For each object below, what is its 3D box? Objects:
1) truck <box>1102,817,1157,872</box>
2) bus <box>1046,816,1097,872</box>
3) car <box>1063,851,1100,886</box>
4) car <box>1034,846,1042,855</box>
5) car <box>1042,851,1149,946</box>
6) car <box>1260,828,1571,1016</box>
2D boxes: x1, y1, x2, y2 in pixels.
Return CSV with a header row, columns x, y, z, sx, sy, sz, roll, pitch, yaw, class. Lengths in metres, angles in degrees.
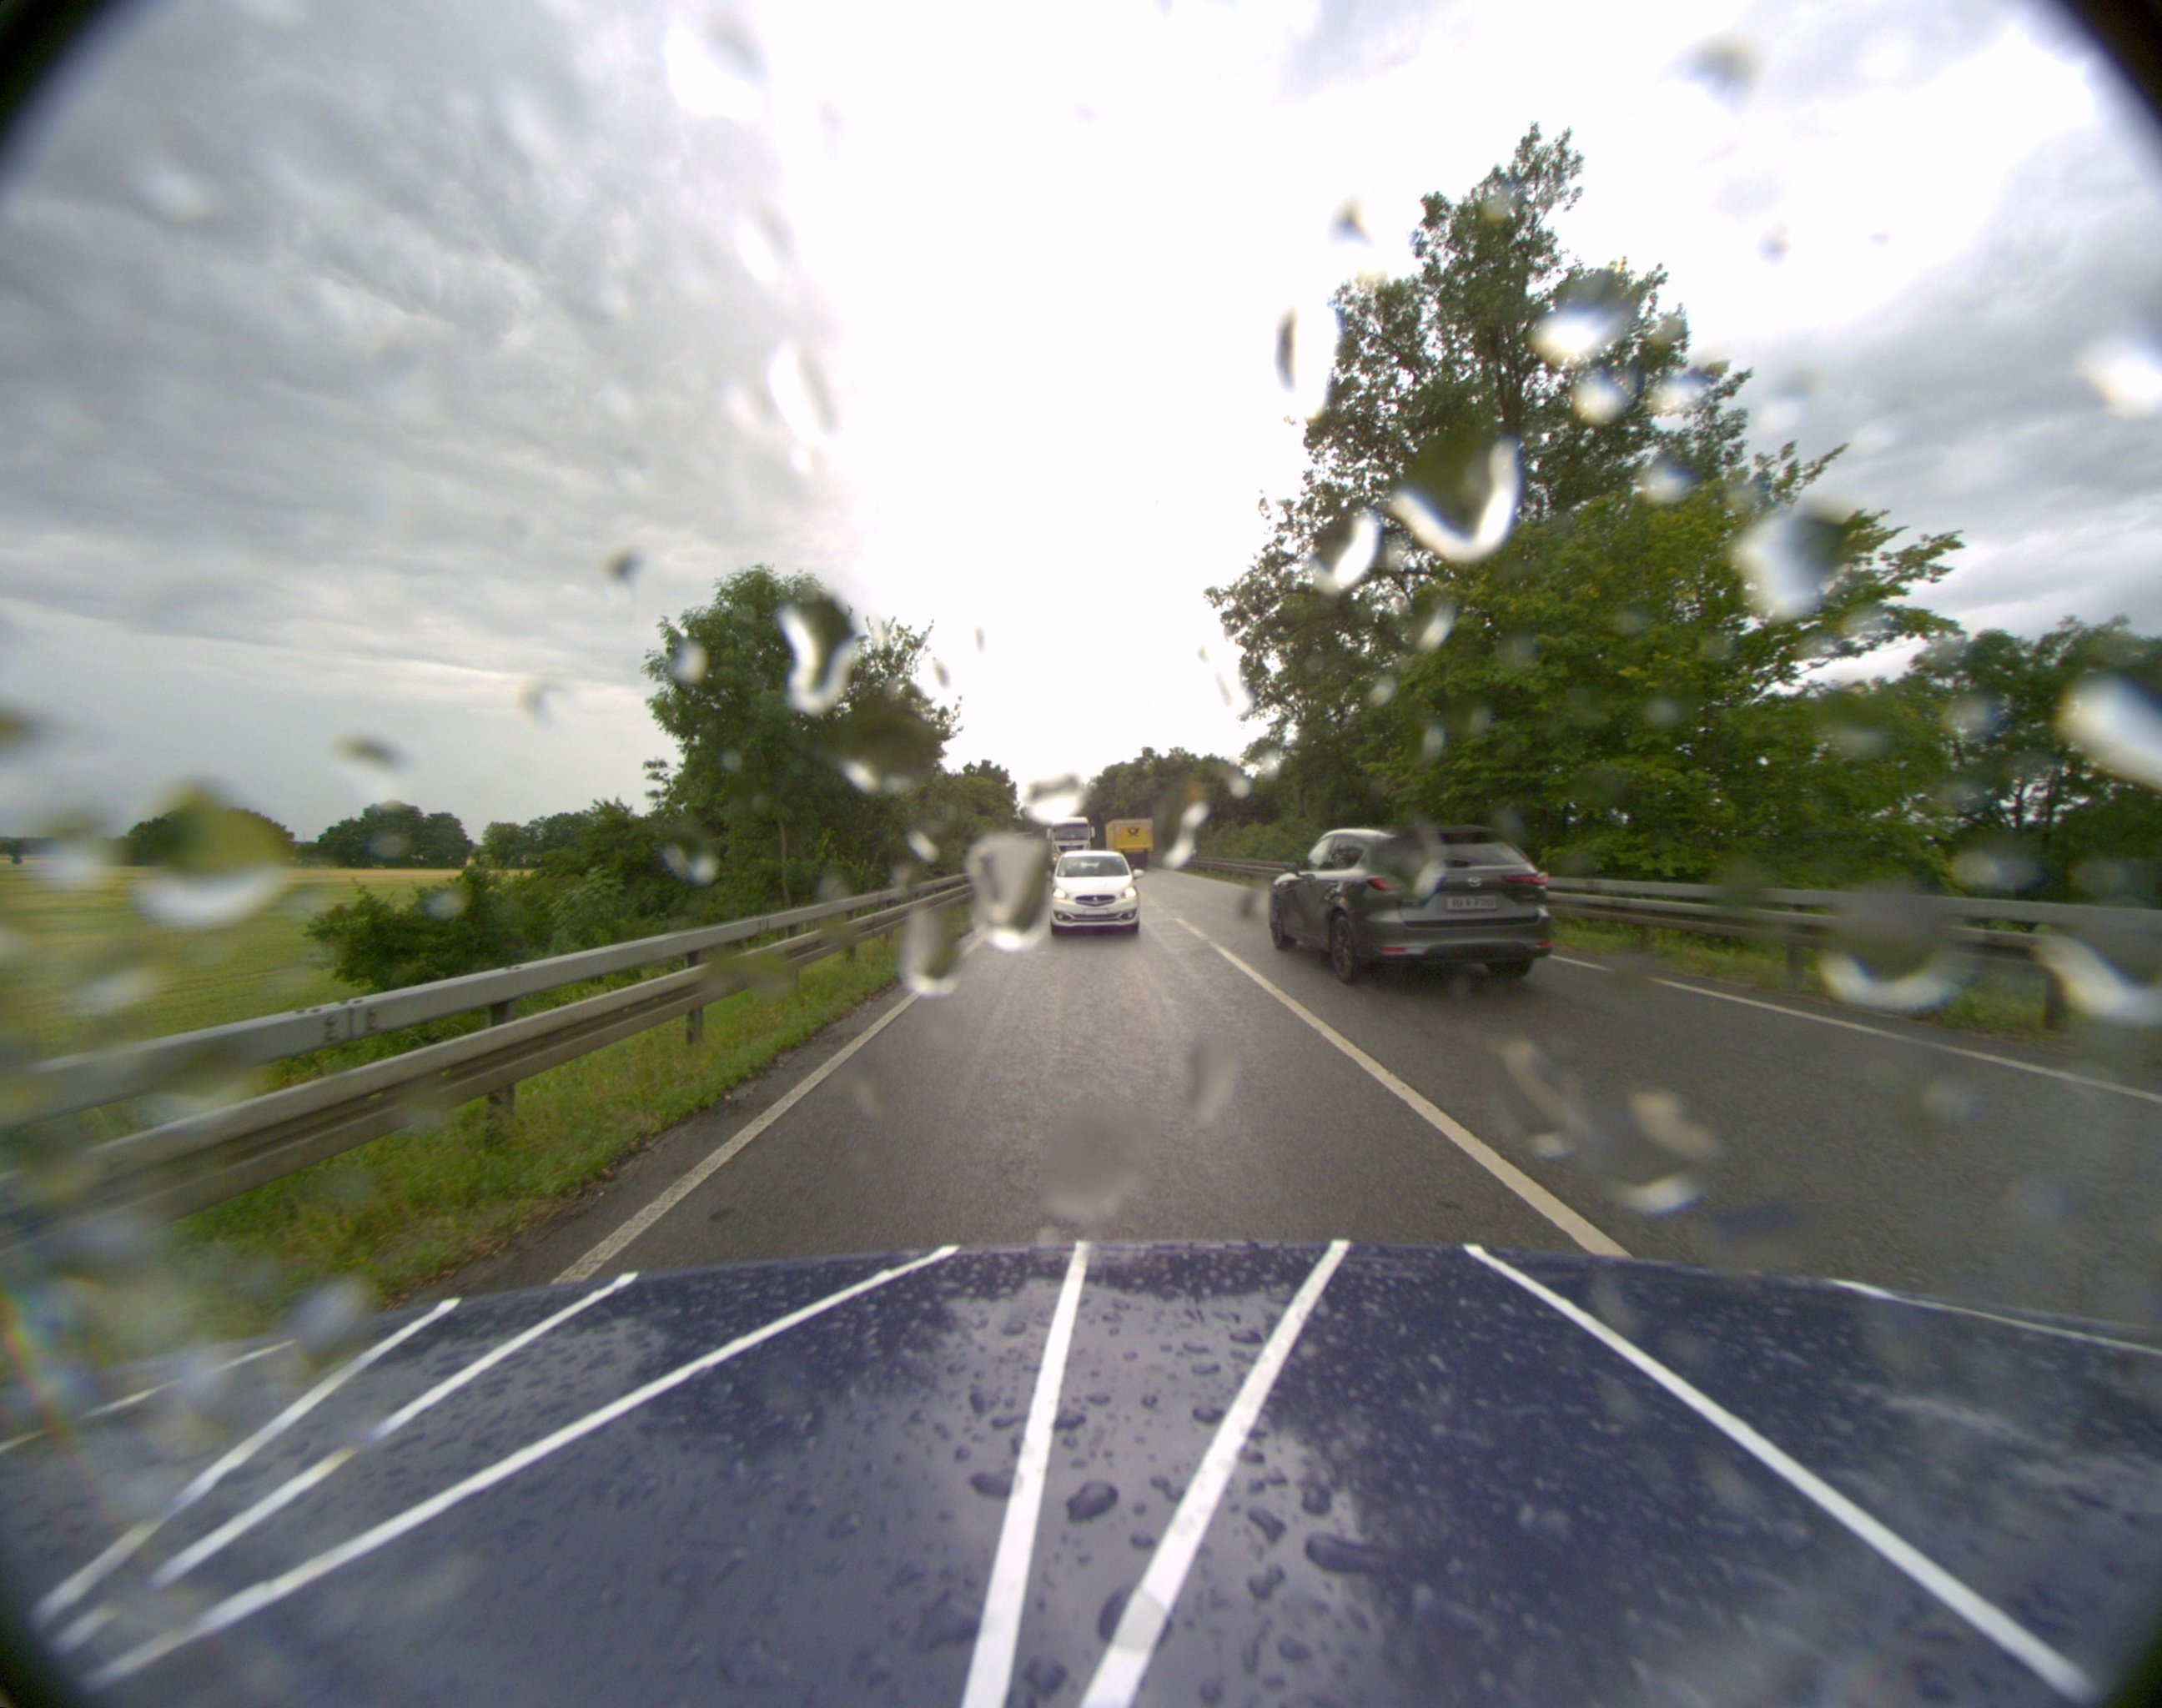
x,y,z,sx,sy,sz,roll,pitch,yaw,class
3.337,-0.764,54.785,2.778,3.410,9.181,-4,2,-3,truck
-0.852,-0.727,54.133,3.064,3.405,13.635,-2,1,-2,bus
0.049,0.598,32.436,1.475,1.410,3.429,-1,0,2,car
-7.613,-0.590,133.754,1.393,1.470,3.225,-1,1,-5,car
0.234,0.717,14.438,1.701,1.471,4.062,-2,1,0,car
3.534,0.607,9.077,1.750,1.644,4.524,-2,0,1,car
